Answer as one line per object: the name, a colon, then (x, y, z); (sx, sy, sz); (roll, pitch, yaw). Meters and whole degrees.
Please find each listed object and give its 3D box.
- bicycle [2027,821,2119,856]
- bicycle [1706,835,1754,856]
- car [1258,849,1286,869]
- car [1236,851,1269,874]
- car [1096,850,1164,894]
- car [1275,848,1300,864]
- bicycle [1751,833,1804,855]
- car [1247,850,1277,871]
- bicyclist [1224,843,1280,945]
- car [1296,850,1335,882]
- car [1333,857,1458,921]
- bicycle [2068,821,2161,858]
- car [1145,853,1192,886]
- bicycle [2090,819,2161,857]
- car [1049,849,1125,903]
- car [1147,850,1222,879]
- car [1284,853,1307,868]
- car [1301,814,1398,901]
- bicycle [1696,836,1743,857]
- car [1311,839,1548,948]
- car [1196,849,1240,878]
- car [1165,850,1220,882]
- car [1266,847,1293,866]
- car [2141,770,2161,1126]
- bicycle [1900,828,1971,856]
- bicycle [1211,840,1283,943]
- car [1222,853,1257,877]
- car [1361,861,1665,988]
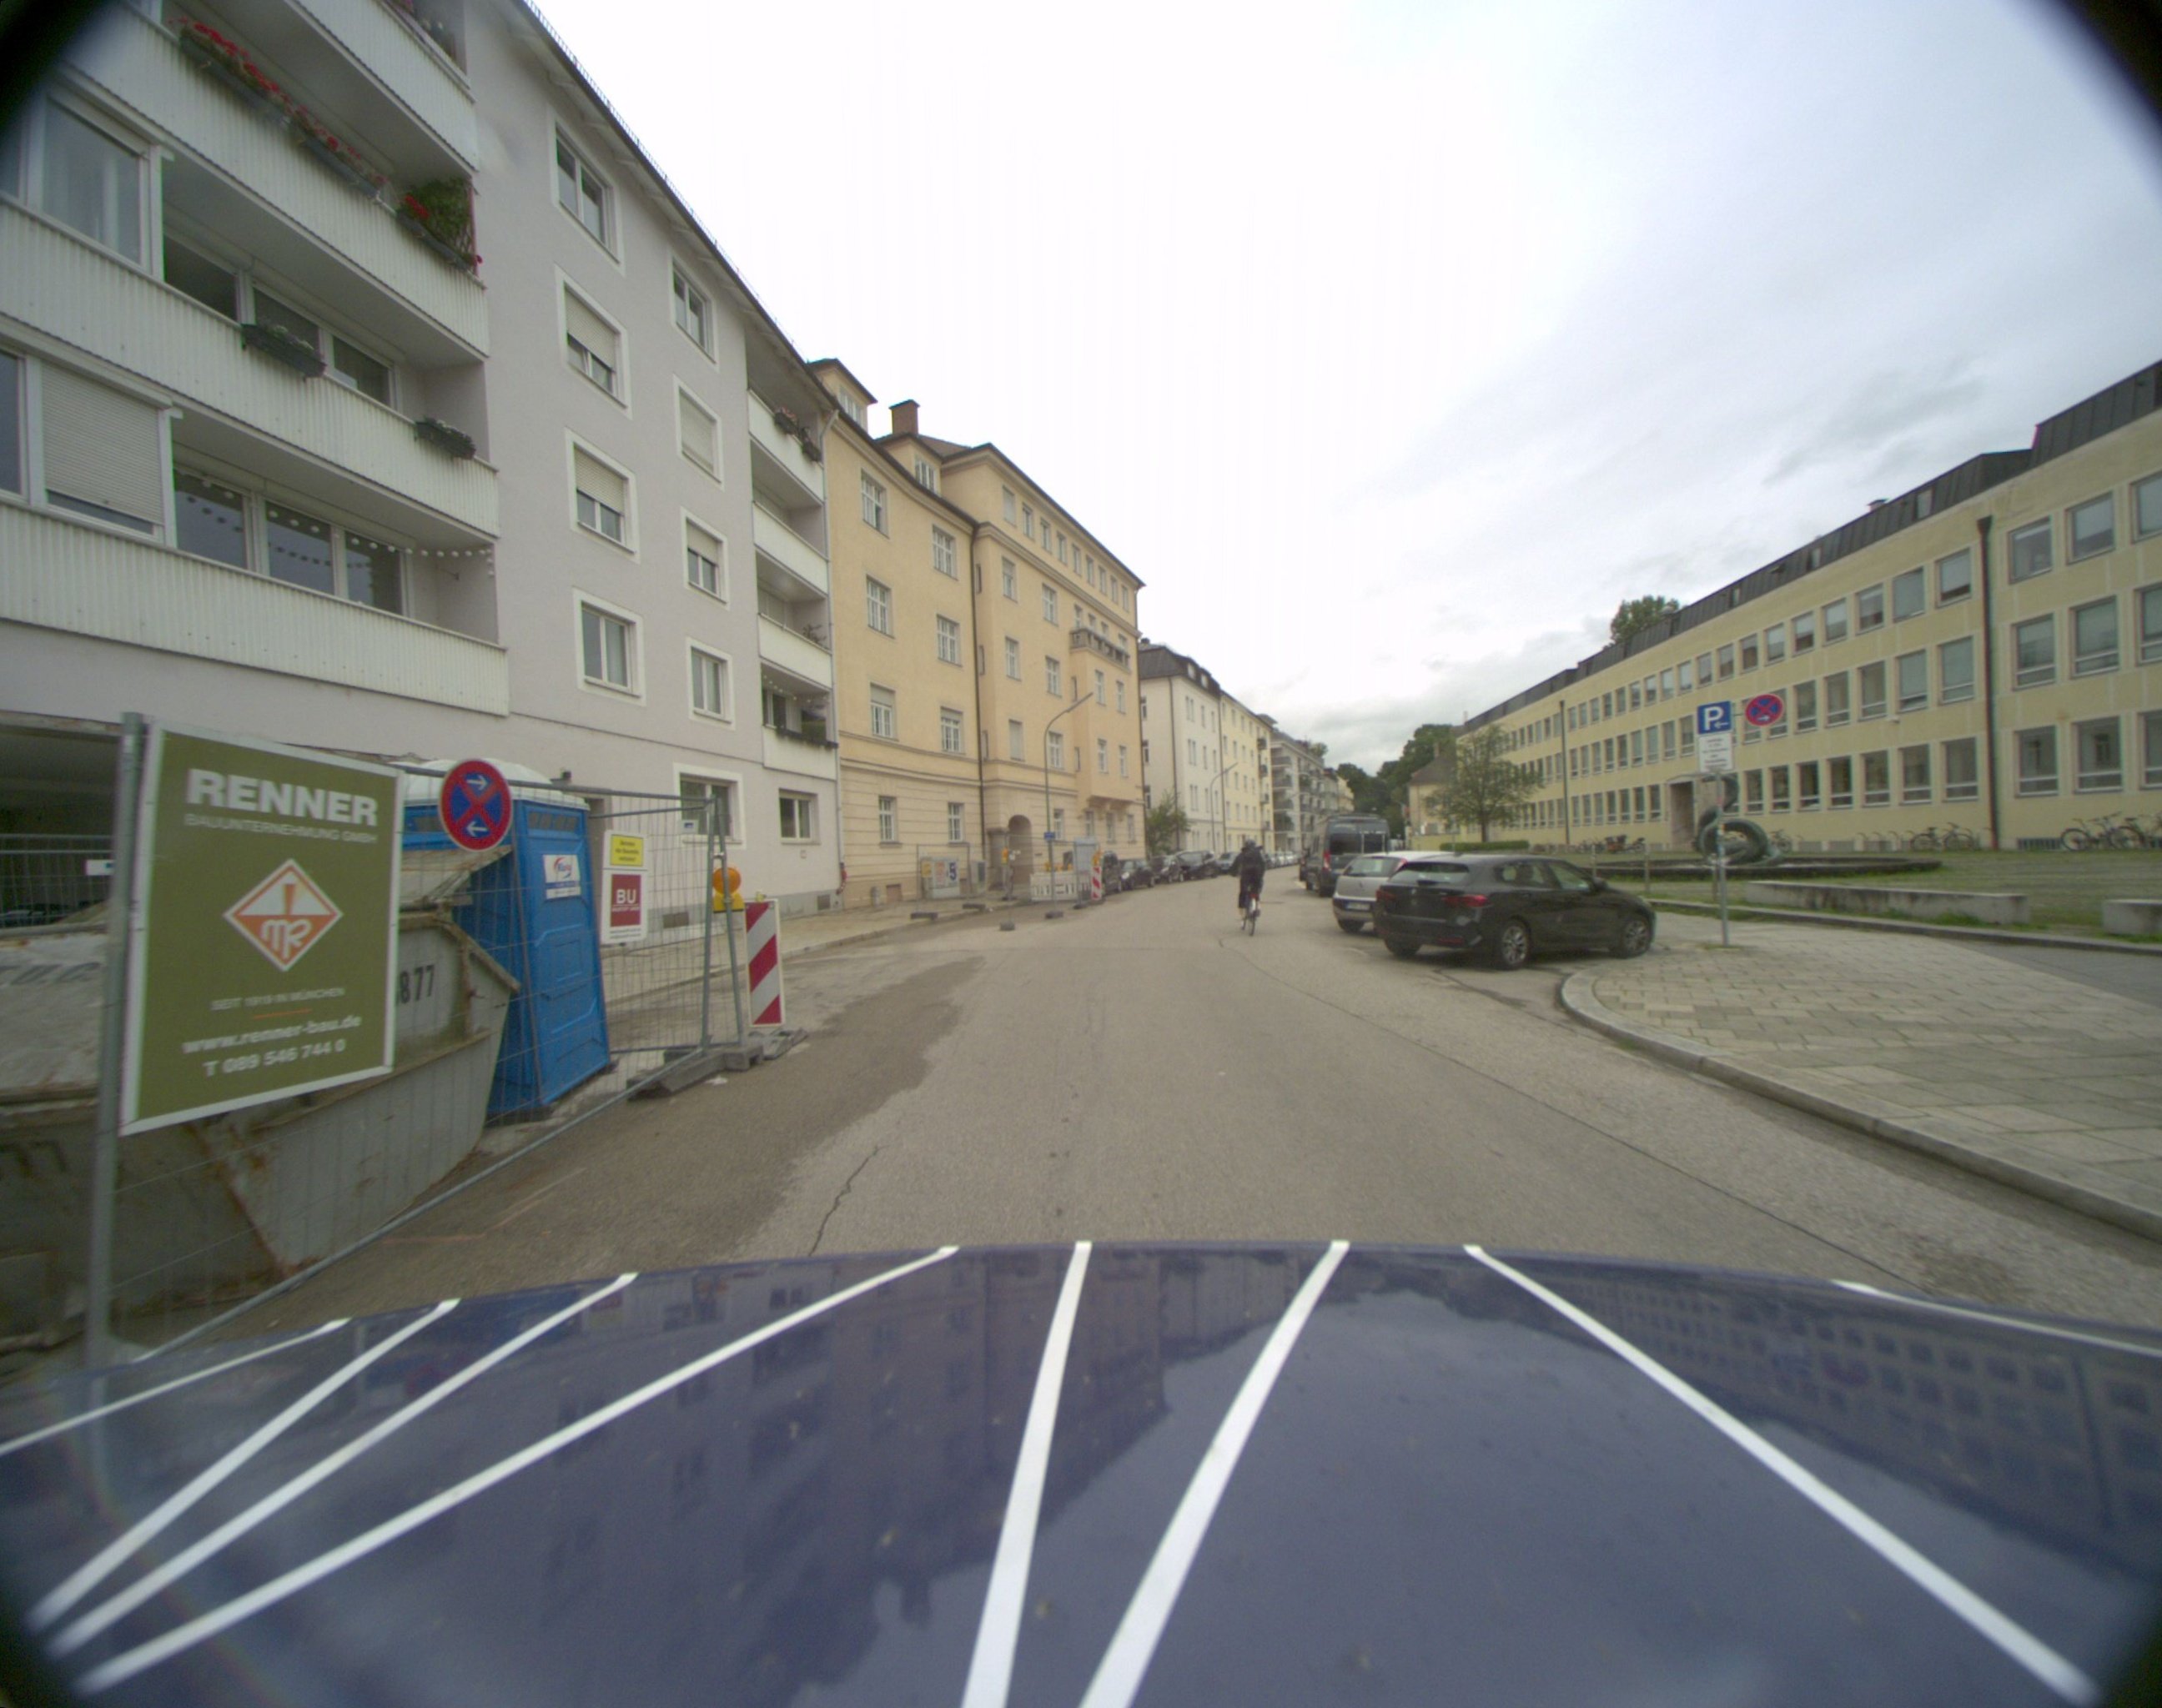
bicycle: (30.509, -0.478, 23.387); (1.905, 0.911, 0.438); (-4, 0, 9)
bicycle: (33.791, -0.430, 39.591); (1.905, 0.911, 0.438); (-4, 0, 9)
car: (17.417, 0.430, 69.250); (1.779, 1.581, 3.707); (-4, 0, 24)
car: (13.854, 0.644, 61.231); (1.779, 1.581, 3.707); (-4, 0, 24)
car: (2.320, 0.804, 35.244); (1.838, 1.720, 3.735); (-4, 0, 24)
car: (21.190, 0.183, 77.923); (1.839, 1.450, 4.028); (-4, 0, 23)
bicycle: (33.554, -0.488, 36.604); (1.905, 0.911, 0.438); (-4, 0, 9)
car: (15.458, 0.525, 64.780); (1.779, 1.581, 3.707); (-4, 0, 24)
bicyclist: (3.010, 0.691, 13.496); (0.749, 1.707, 1.032); (-2, 0, 3)
car: (11.434, 0.544, 37.000); (1.668, 1.451, 2.871); (0, 1, 20)
car: (7.845, 0.798, 19.362); (1.831, 1.379, 4.143); (1, 0, 6)
bicycle: (30.859, -0.429, 22.617); (1.881, 0.935, 0.533); (-4, 0, 12)
car: (4.735, 0.831, 40.967); (1.509, 1.548, 2.867); (-4, 0, 26)
bicycle: (30.576, -0.469, 21.883); (1.881, 0.962, 0.533); (-4, 0, 12)
car: (0.330, 0.807, 29.926); (1.839, 1.788, 4.242); (-4, 0, 15)
car: (7.034, 0.684, 52.003); (4.918, 1.762, 1.886); (-2, 1, 6)
car: (23.494, 0.689, 83.133); (1.740, 1.367, 4.028); (-4, 0, 23)
car: (8.890, 0.083, 25.736); (2.147, 2.559, 6.216); (-1, 0, 11)
bicycle: (33.911, -0.397, 40.343); (1.905, 0.911, 0.438); (-4, 0, 9)
car: (6.390, 0.656, 13.887); (3.987, 1.521, 1.672); (-4, 0, -25)
car: (9.423, 0.614, 51.932); (1.779, 1.720, 4.396); (-4, 0, 24)
car: (6.814, 0.690, 45.948); (1.929, 1.719, 4.695); (-4, -2, 24)
car: (19.410, 0.206, 74.206); (1.779, 1.581, 3.707); (-4, 0, 24)
car: (6.389, 0.409, 1.419); (1.999, 1.761, 4.814); (-3, 0, -2)
bicycle: (32.418, -0.466, 28.828); (1.905, 0.911, 0.438); (-4, 0, 9)
bicycle: (3.034, 0.649, 14.250); (0.797, 1.712, 3.116); (0, -1, 3)
car: (12.028, 0.806, 57.497); (1.779, 1.581, 3.707); (-4, 0, 24)
car: (5.955, 0.825, 10.412); (4.013, 1.365, 1.745); (-1, 1, -28)
